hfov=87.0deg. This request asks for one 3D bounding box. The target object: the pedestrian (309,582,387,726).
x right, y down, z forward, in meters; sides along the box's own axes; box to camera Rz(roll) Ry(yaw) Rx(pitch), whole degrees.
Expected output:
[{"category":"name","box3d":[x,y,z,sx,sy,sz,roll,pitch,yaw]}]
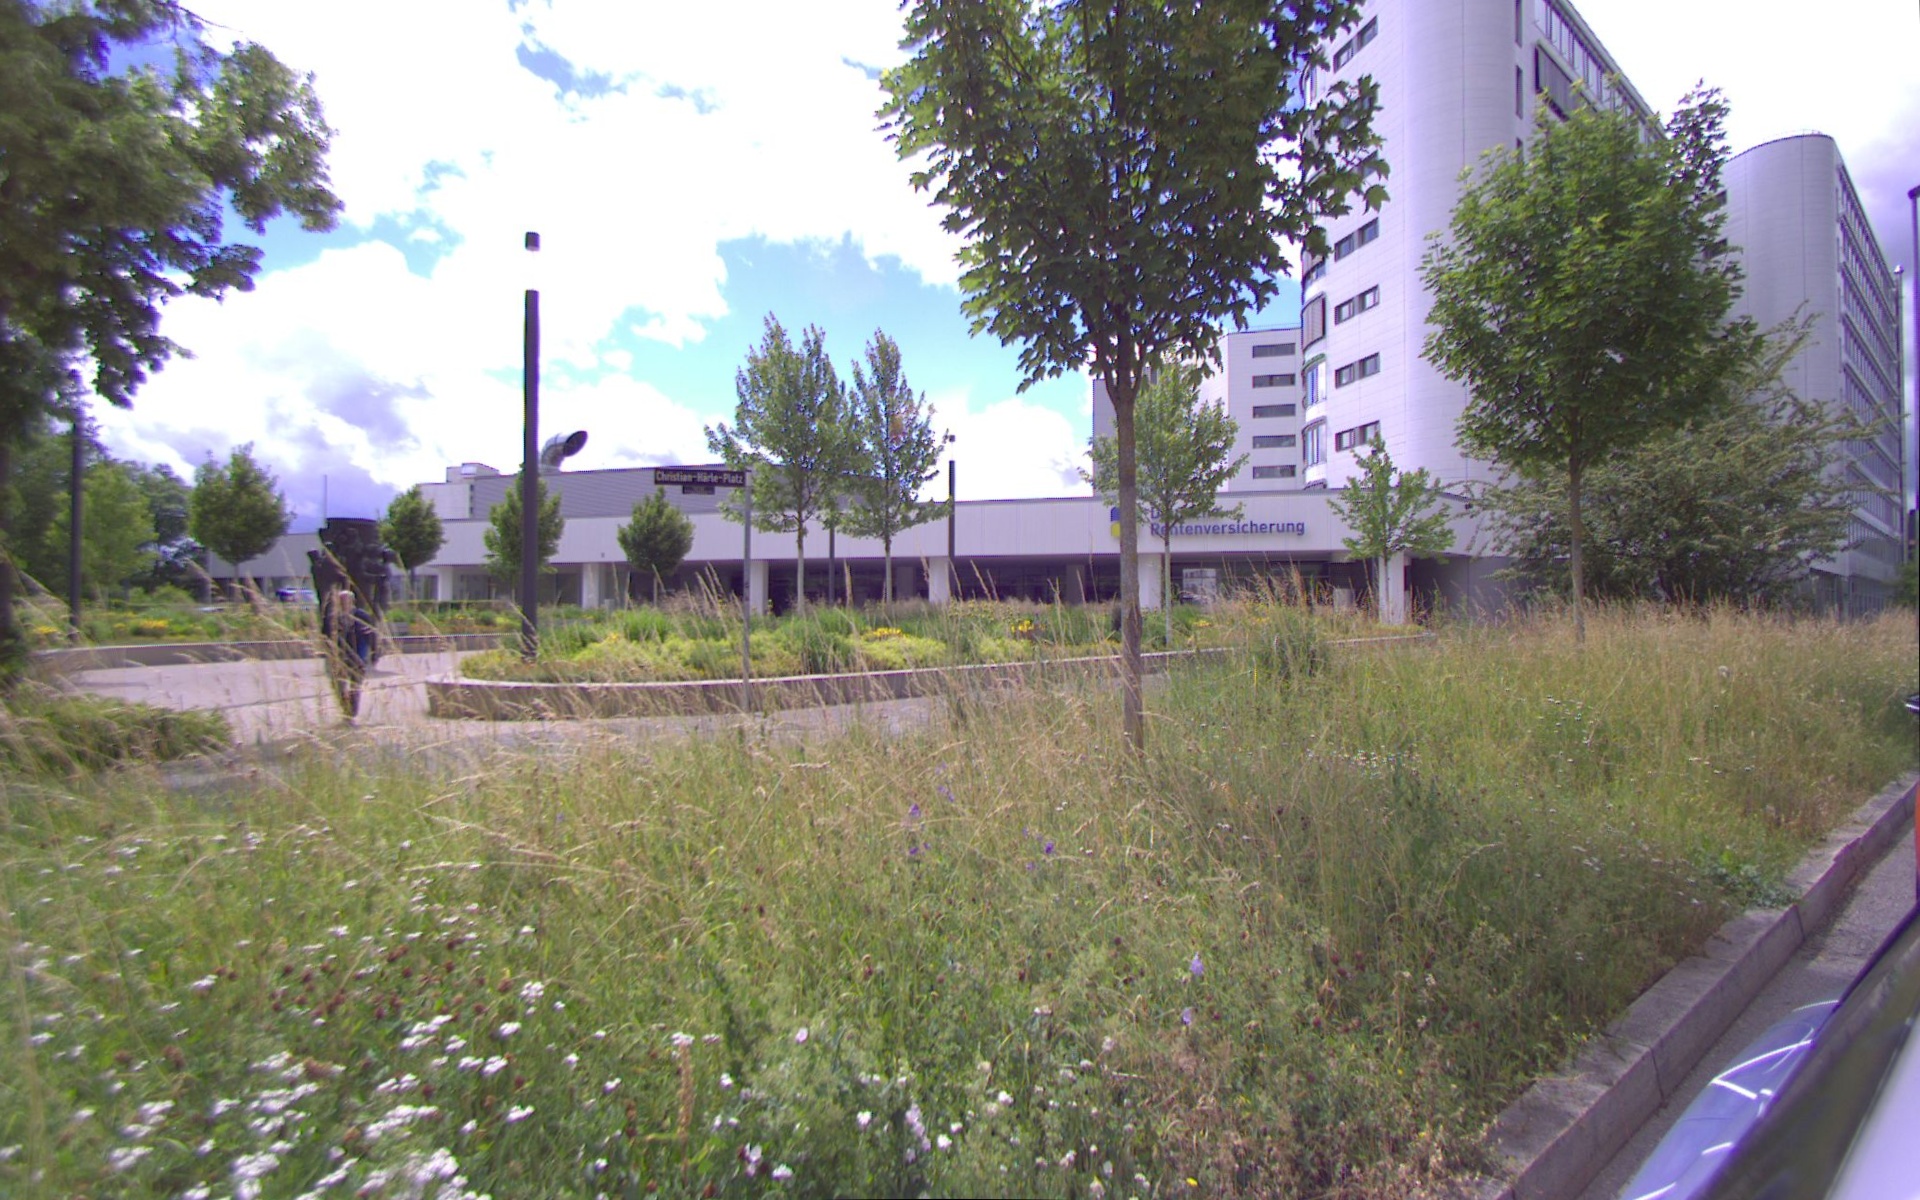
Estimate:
[{"category":"pedestrian","box3d":[-7.308,0.613,12.101,0.757,1.646,0.765,1,-1,-32]}]

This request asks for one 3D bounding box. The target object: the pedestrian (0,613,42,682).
[{"category":"pedestrian","box3d":[-17.425,0.859,18.681,0.621,1.238,0.620,1,0,-36]}]

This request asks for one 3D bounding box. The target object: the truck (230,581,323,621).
[{"category":"truck","box3d":[-36.150,0.058,53.576,3.941,2.039,1.991,1,0,14]}]

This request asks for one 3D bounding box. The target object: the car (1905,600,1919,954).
[{"category":"car","box3d":[5.805,0.750,4.642,3.611,1.434,1.748,0,1,-41]}]
